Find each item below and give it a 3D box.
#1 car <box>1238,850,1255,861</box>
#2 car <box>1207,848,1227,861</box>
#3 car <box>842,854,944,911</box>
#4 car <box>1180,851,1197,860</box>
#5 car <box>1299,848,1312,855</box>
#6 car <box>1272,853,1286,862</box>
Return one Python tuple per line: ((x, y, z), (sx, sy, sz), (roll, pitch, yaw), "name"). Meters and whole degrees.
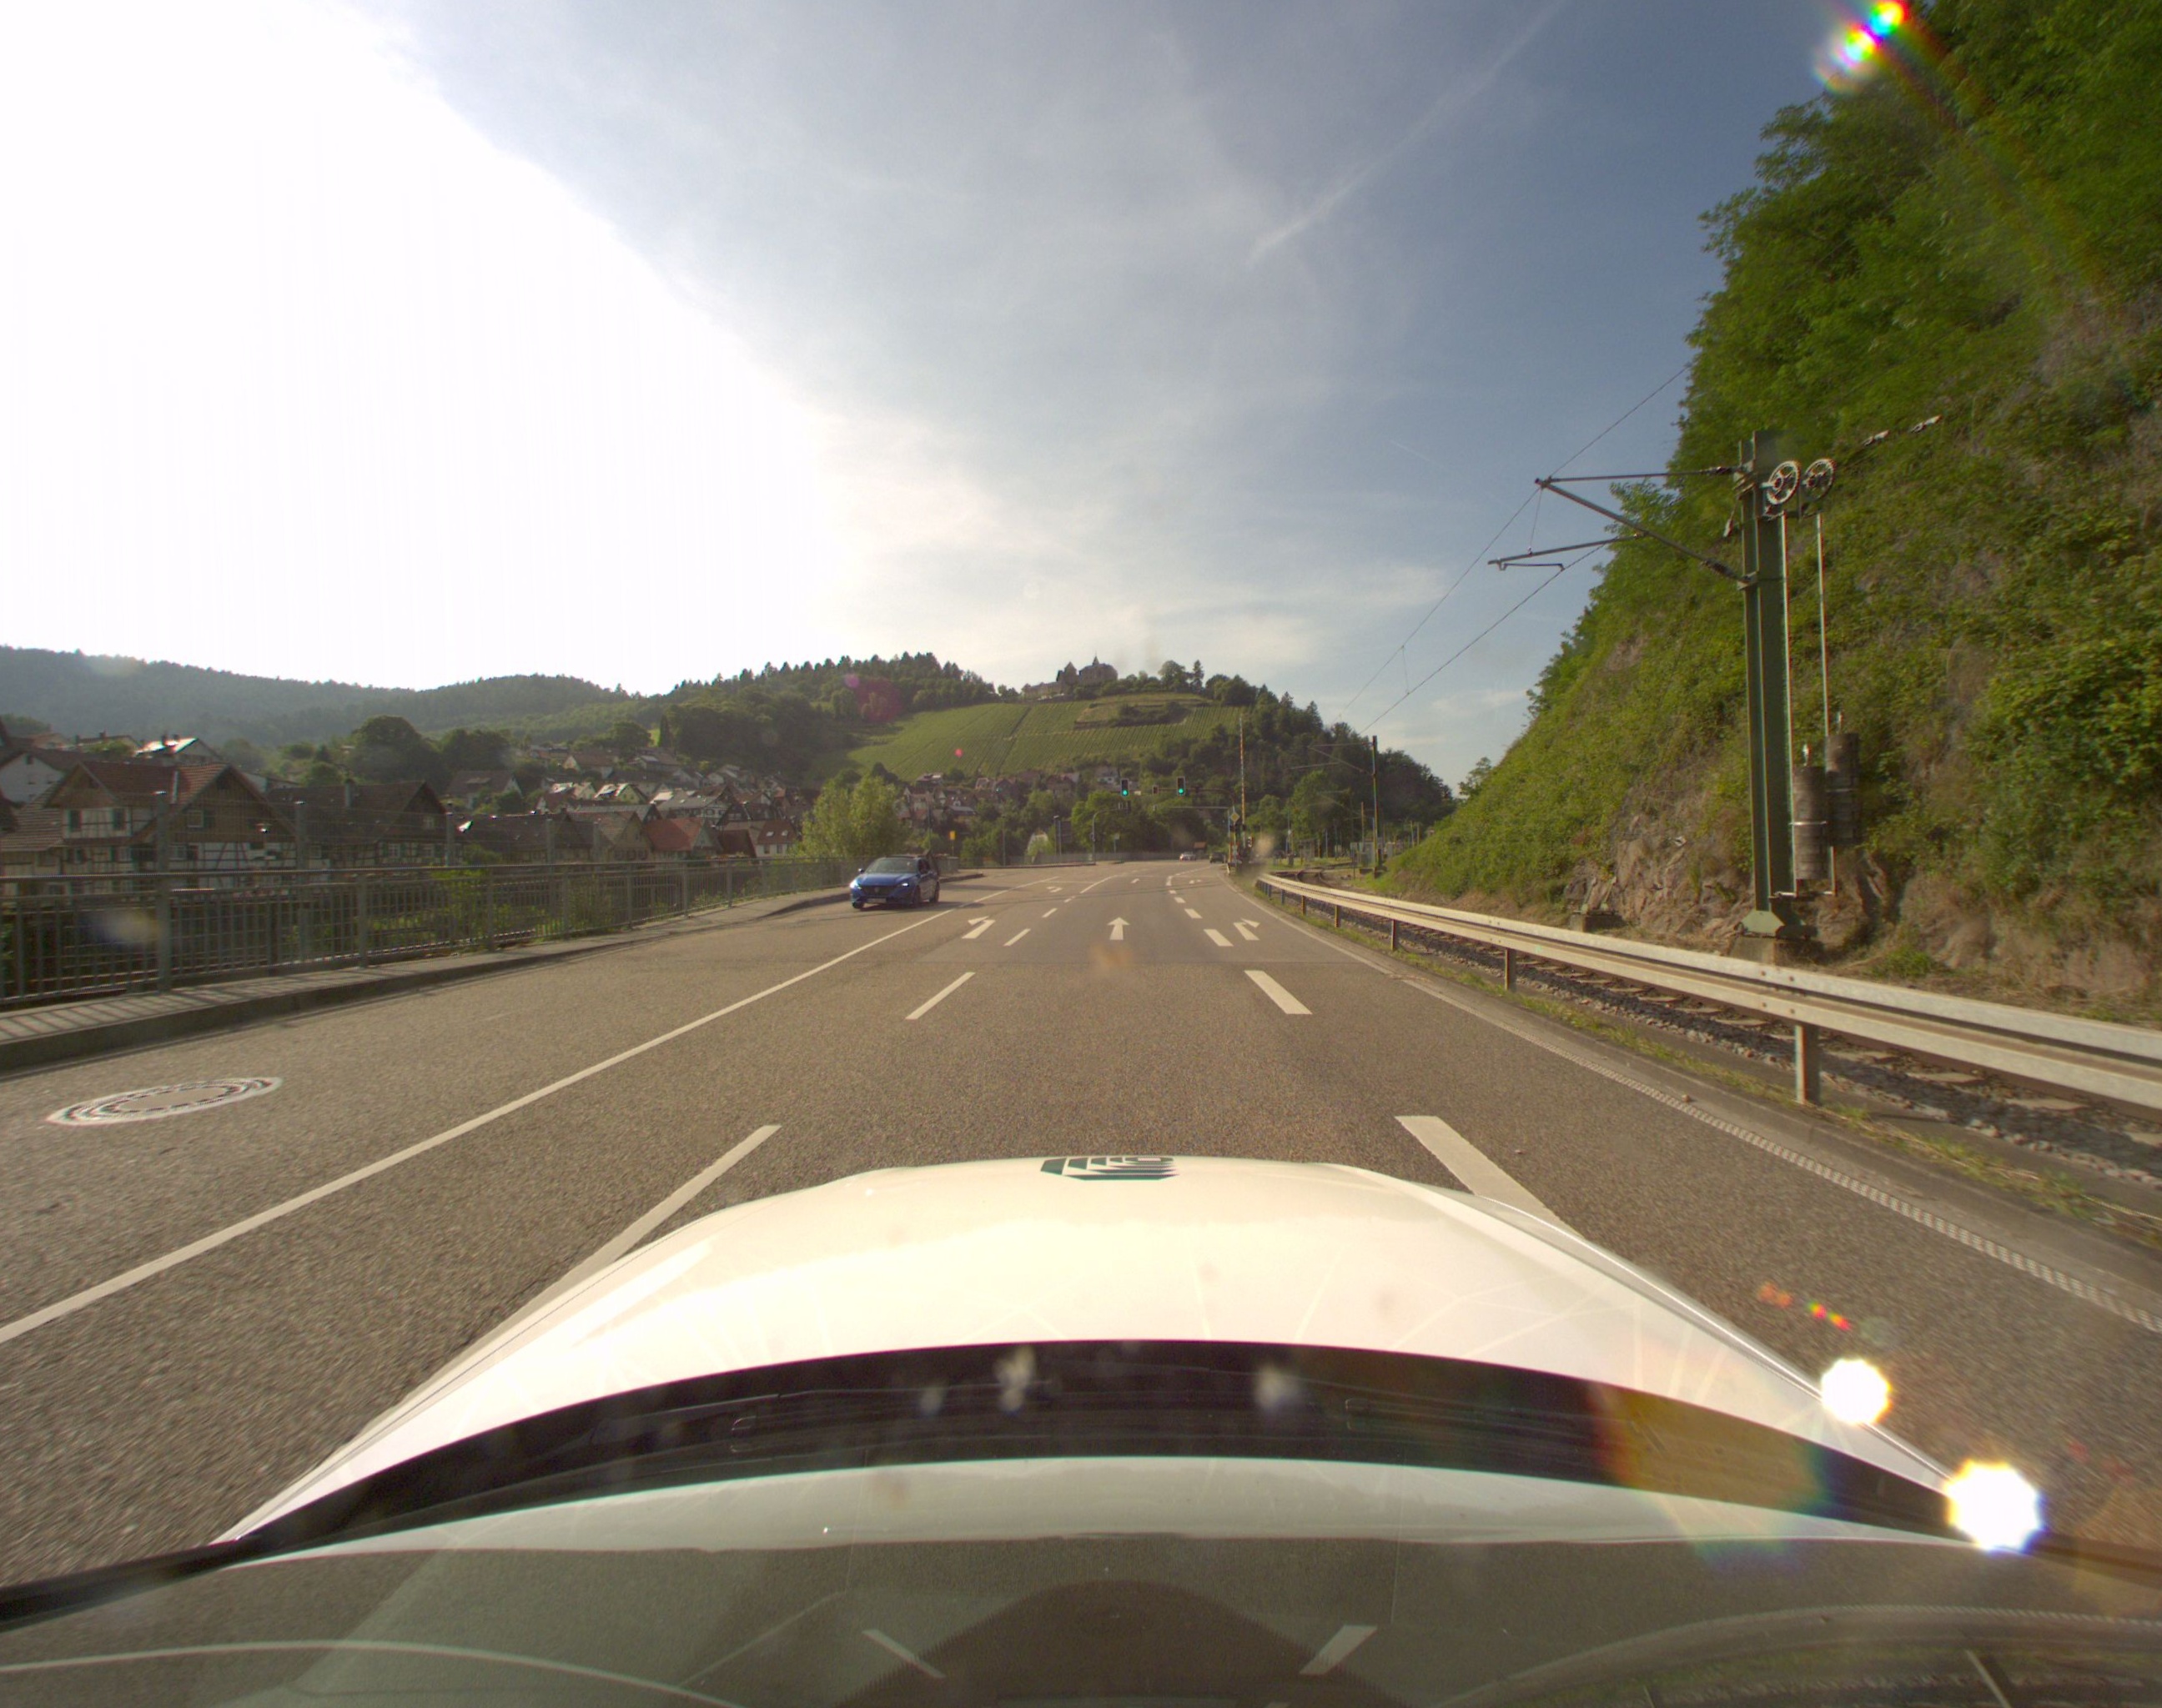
((24.330, 0.232, 119.932), (1.824, 1.459, 3.731), (-3, -1, 20), "car")
((16.652, 0.103, 99.557), (1.714, 1.457, 3.427), (-3, -1, 19), "car")
((-5.336, 0.748, 23.730), (1.776, 1.482, 4.527), (-1, 0, 1), "car")
((15.668, 0.245, 118.346), (1.631, 1.231, 4.114), (0, 1, 20), "car")
((47.745, -0.545, 173.248), (1.791, 1.408, 3.796), (-3, -1, 29), "car")
((36.558, 0.666, 150.552), (1.790, 1.453, 3.667), (-3, -1, 24), "car")
